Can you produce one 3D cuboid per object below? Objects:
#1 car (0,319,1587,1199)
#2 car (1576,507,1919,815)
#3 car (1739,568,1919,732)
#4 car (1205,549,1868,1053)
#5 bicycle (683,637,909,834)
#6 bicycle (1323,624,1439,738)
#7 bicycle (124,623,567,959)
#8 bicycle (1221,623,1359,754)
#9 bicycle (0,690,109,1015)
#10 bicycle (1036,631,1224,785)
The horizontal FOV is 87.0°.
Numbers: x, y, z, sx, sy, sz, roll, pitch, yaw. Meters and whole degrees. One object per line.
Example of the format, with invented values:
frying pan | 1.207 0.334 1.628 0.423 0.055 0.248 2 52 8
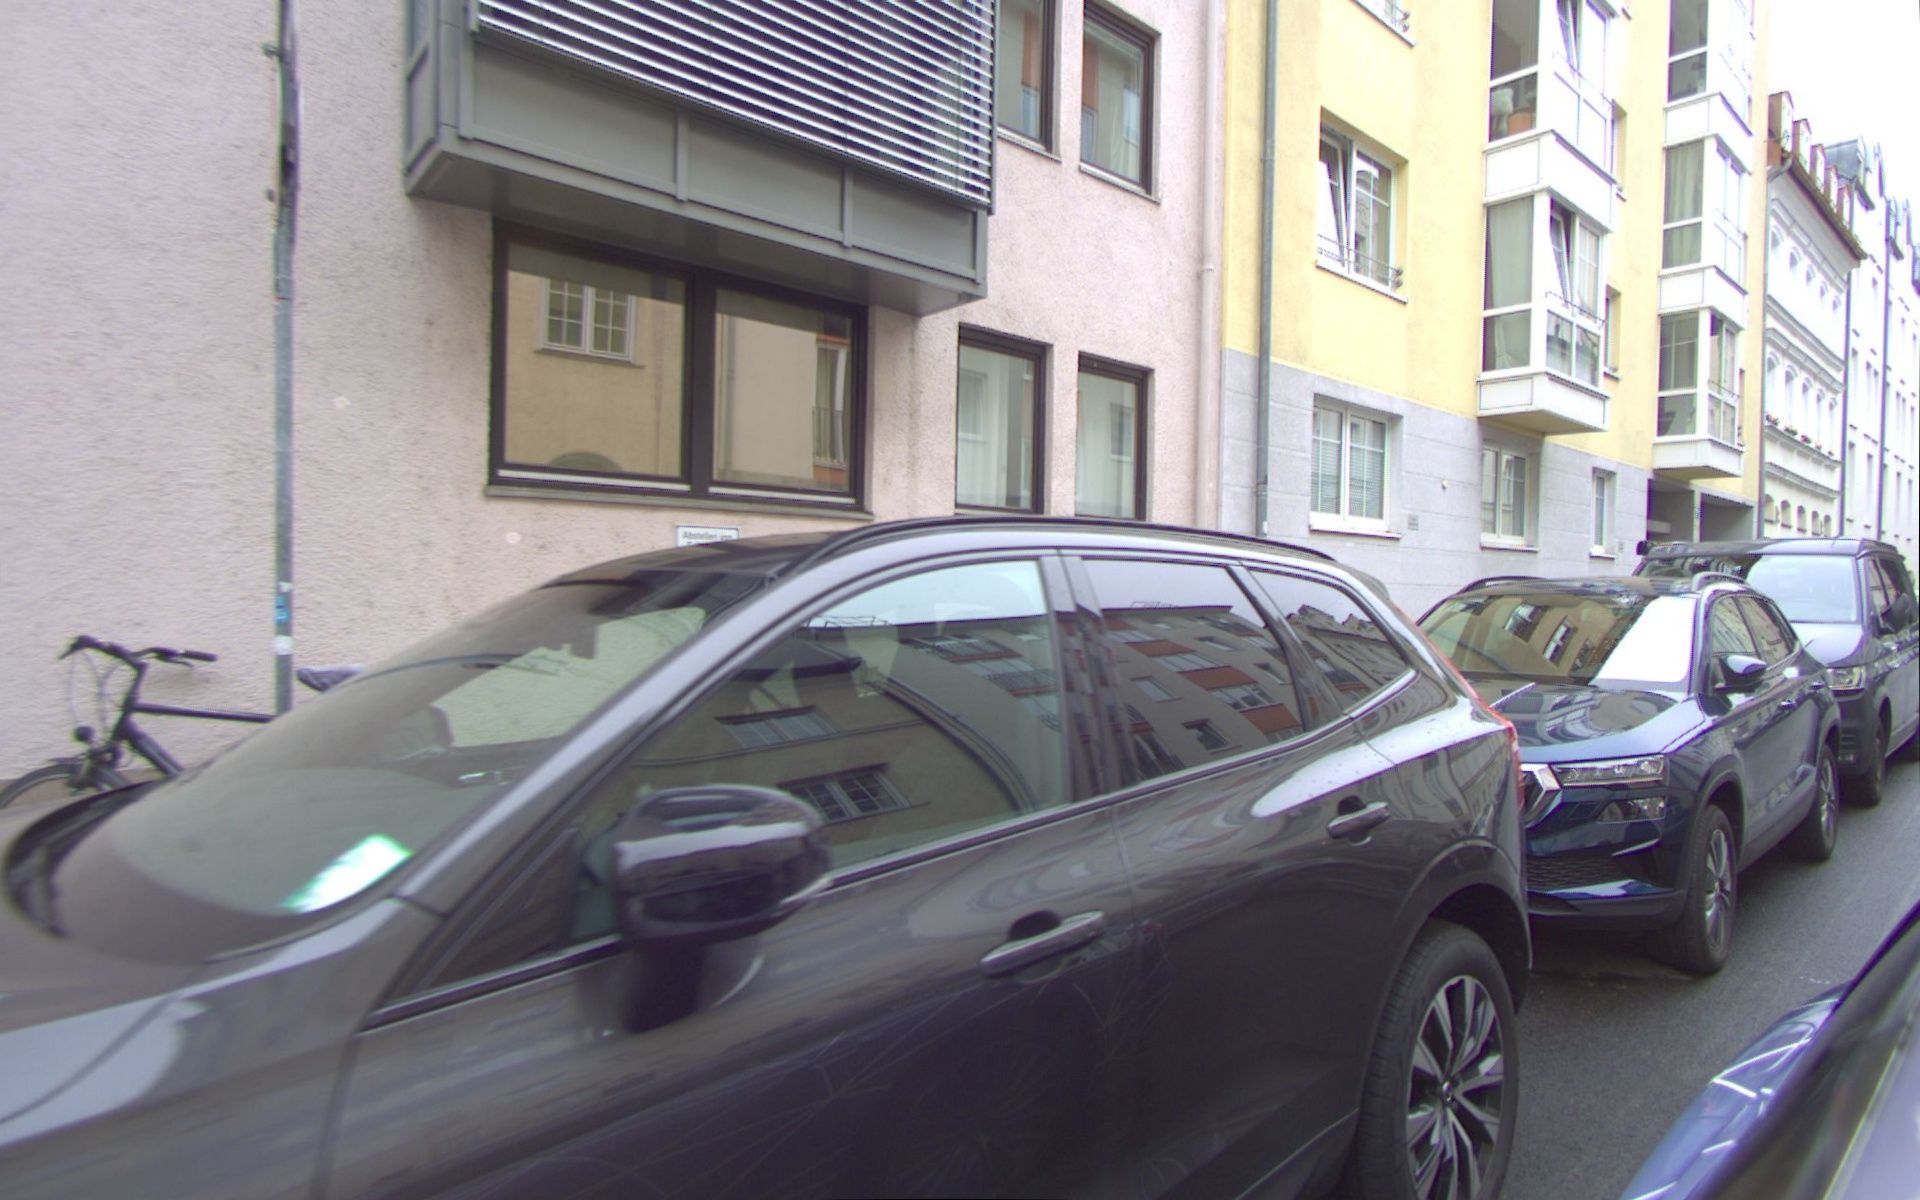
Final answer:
car | -0.468 0.603 2.102 4.335 1.642 1.836 -1 1 -41
car | 7.429 0.344 9.083 5.019 2.039 1.876 -1 1 -42
car | 11.146 0.495 12.348 4.155 1.707 1.836 -1 1 -41
car | 3.321 0.624 5.411 4.249 1.642 1.835 -1 1 -42
bicycle | -0.900 0.714 5.716 1.247 0.959 0.358 0 1 -40
bicycle | 4.090 0.752 9.780 1.421 0.988 0.422 0 1 -40
bicycle | -2.452 0.681 4.164 1.515 1.136 0.358 0 1 -40
bicycle | 2.828 0.714 8.618 1.421 0.988 0.422 0 1 -40
bicycle | -3.516 0.823 3.136 1.333 0.959 0.552 0 1 -40
bicycle | 1.262 0.731 7.339 1.548 0.959 0.442 0 1 -40
